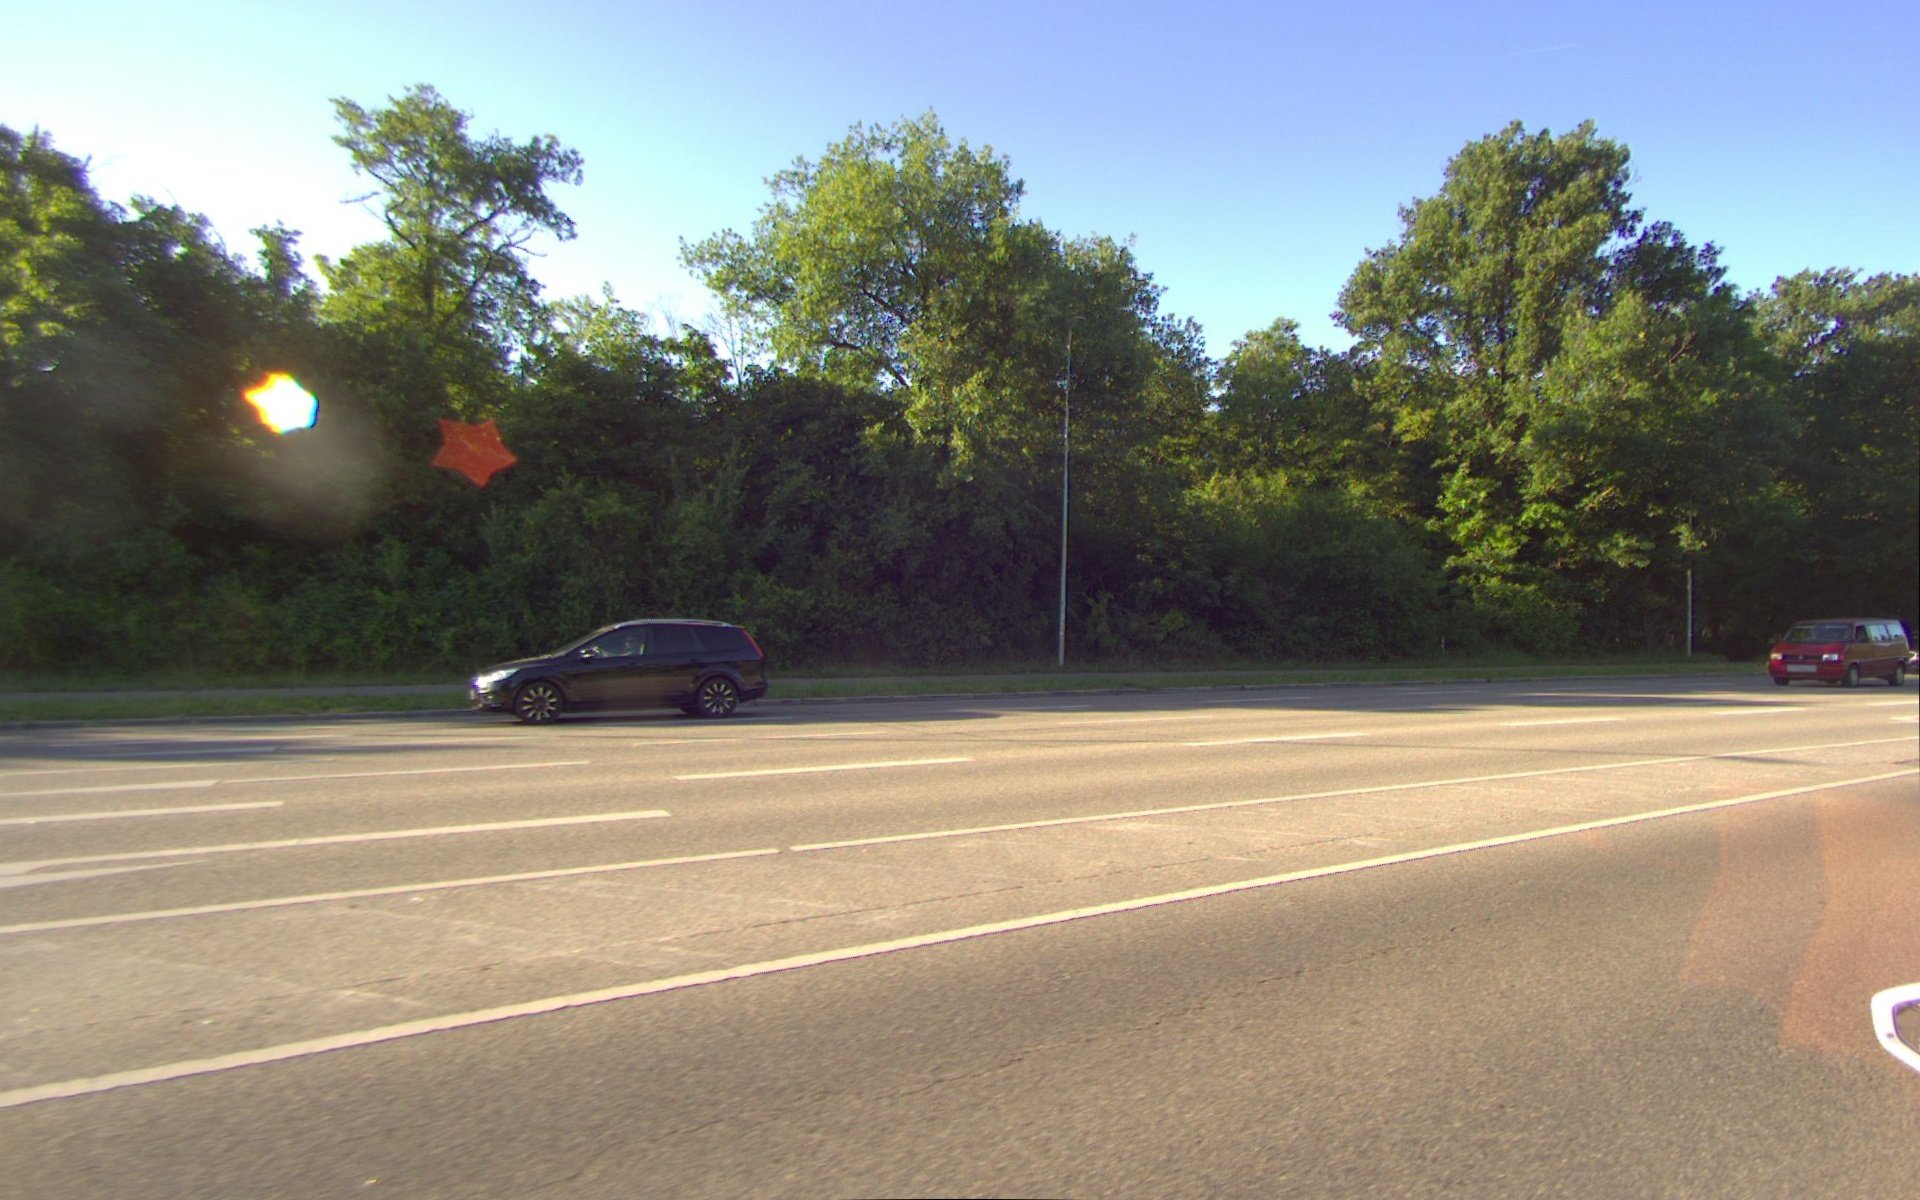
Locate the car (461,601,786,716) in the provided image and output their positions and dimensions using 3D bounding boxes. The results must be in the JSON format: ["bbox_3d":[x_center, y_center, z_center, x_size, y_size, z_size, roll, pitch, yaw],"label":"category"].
[{"bbox_3d":[-5.280,0.947,15.918,4.592,1.584,1.985,2,-5,-30],"label":"car"}]

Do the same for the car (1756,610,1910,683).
[{"bbox_3d":[25.404,1.349,29.199,4.592,1.987,1.985,2,-2,-30],"label":"car"}]

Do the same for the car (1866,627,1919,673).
[{"bbox_3d":[37.627,1.945,39.191,4.786,1.658,1.984,2,-1,-30],"label":"car"}]
